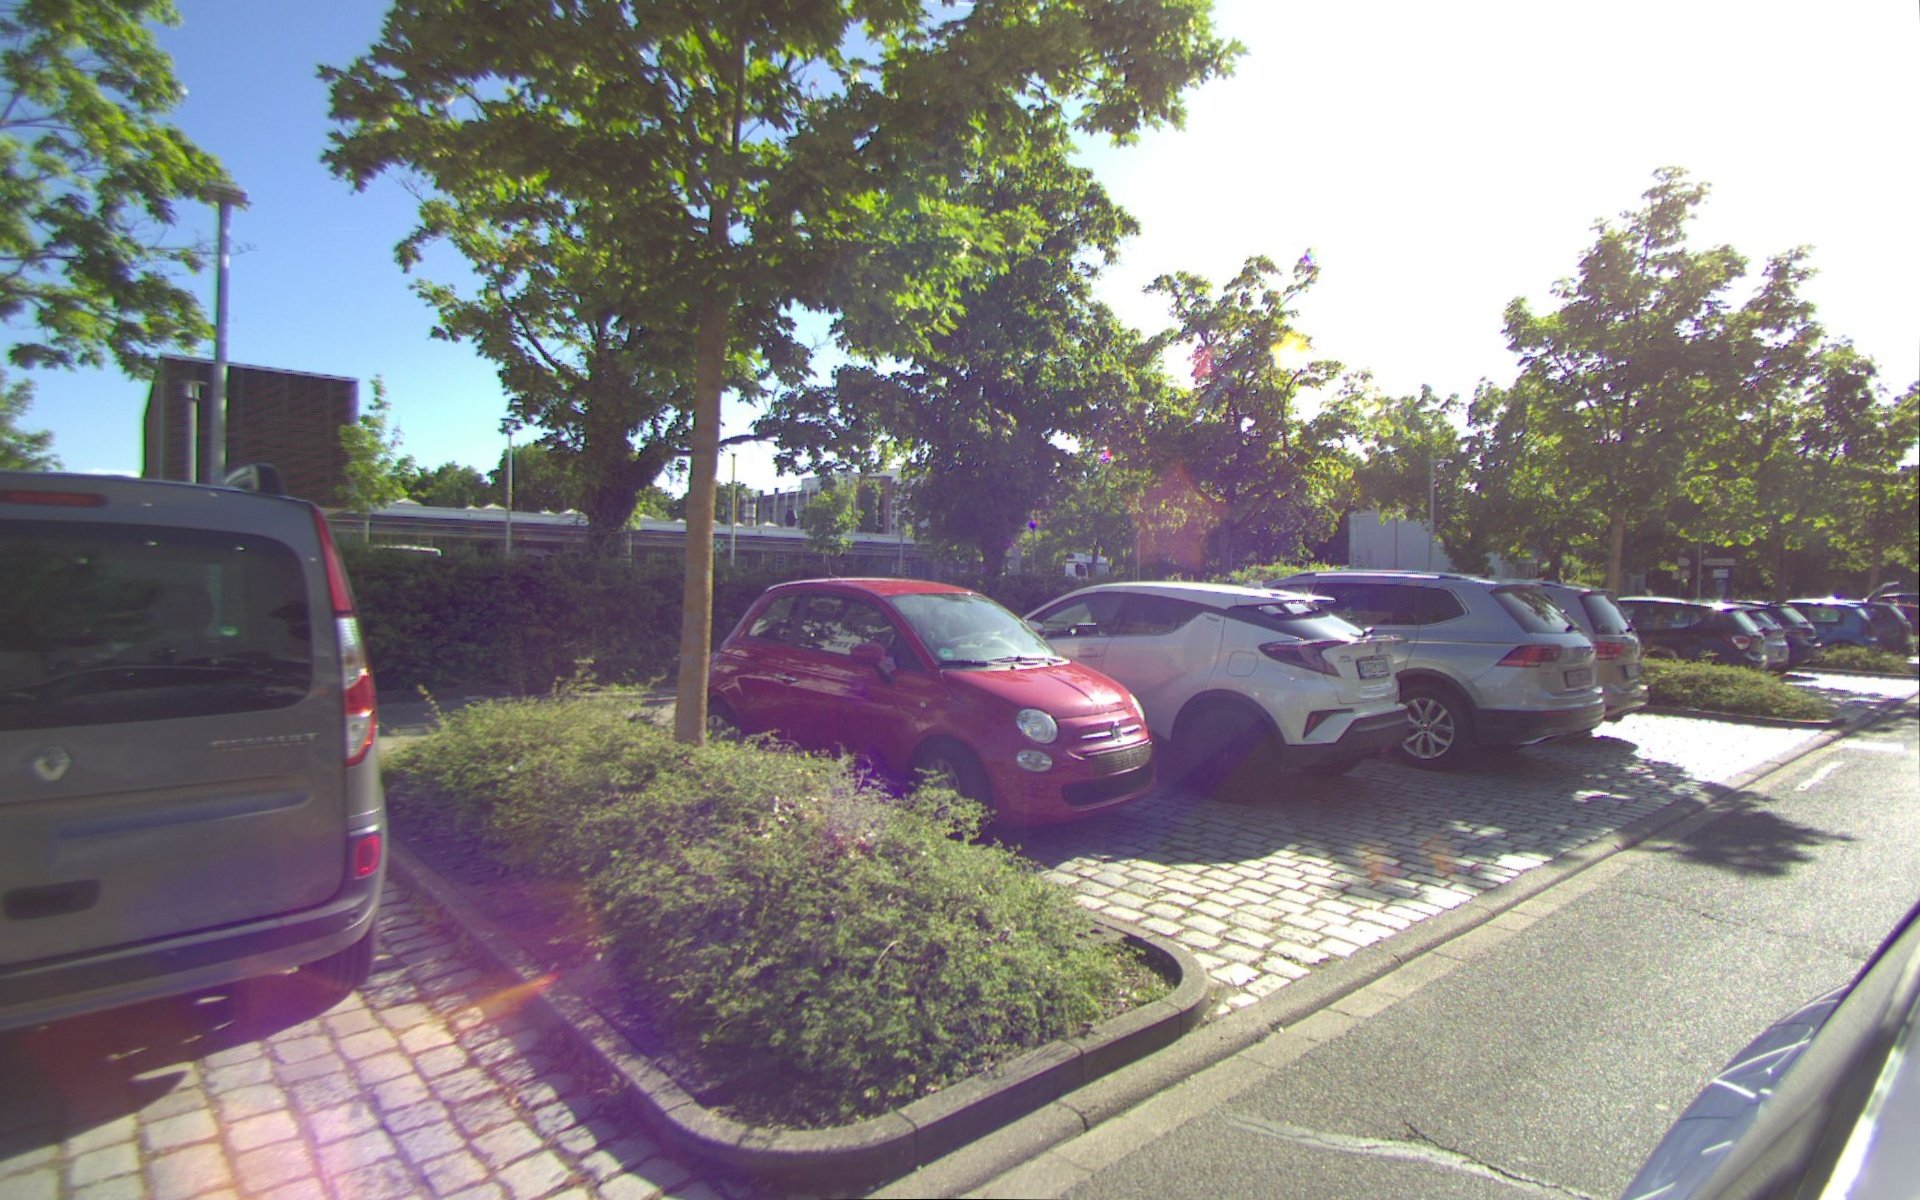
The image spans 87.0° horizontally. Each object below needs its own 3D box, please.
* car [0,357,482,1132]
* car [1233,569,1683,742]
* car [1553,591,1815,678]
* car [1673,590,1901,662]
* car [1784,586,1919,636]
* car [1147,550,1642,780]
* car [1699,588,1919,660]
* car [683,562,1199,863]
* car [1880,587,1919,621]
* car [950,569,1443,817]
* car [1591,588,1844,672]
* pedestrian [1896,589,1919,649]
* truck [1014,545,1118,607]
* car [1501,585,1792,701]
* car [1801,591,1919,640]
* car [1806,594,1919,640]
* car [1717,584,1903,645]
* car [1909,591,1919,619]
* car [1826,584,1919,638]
[{"bbox_3d":[-3.682,0.332,4.184,1.944,1.952,4.124,2,0,-42],"label":"car"},{"bbox_3d":[5.592,0.471,11.768,1.881,1.628,4.324,0,1,-44],"label":"car"},{"bbox_3d":[13.768,0.586,19.400,1.809,1.434,3.741,0,1,-39],"label":"car"},{"bbox_3d":[19.029,0.541,23.404,1.593,1.486,3.904,2,0,-42],"label":"car"},{"bbox_3d":[27.859,0.307,30.967,1.644,1.444,3.904,-1,2,-42],"label":"car"},{"bbox_3d":[3.948,0.467,9.649,1.907,1.717,3.904,2,0,-42],"label":"car"},{"bbox_3d":[20.917,0.519,24.874,1.707,1.538,4.192,0,1,-42],"label":"car"},{"bbox_3d":[-0.266,0.532,6.904,3.361,1.549,1.577,1,2,41],"label":"car"},{"bbox_3d":[47.705,0.209,49.258,1.798,1.617,4.161,0,2,-42],"label":"car"},{"bbox_3d":[1.760,0.561,8.175,3.498,1.549,1.710,1,0,45],"label":"car"},{"bbox_3d":[15.653,0.548,21.072,1.809,1.516,3.904,0,1,-39],"label":"car"},{"bbox_3d":[25.596,0.510,27.069,0.662,1.599,0.765,2,-1,-41],"label":"pedestrian"},{"bbox_3d":[6.982,-1.585,67.388,2.760,3.855,6.918,2,0,-39],"label":"truck"},{"bbox_3d":[10.611,0.565,15.795,1.717,1.507,3.458,-1,3,-42],"label":"car"},{"bbox_3d":[30.211,0.511,33.123,1.777,1.454,3.905,1,2,-42],"label":"car"},{"bbox_3d":[32.130,0.570,35.042,1.798,1.423,4.161,0,2,-42],"label":"car"},{"bbox_3d":[24.168,0.378,28.871,1.651,1.598,3.904,2,0,-42],"label":"car"},{"bbox_3d":[51.444,0.338,51.736,1.798,1.423,4.161,0,2,-42],"label":"car"},{"bbox_3d":[34.586,0.388,37.015,1.847,1.869,4.163,0,2,-40],"label":"car"}]
